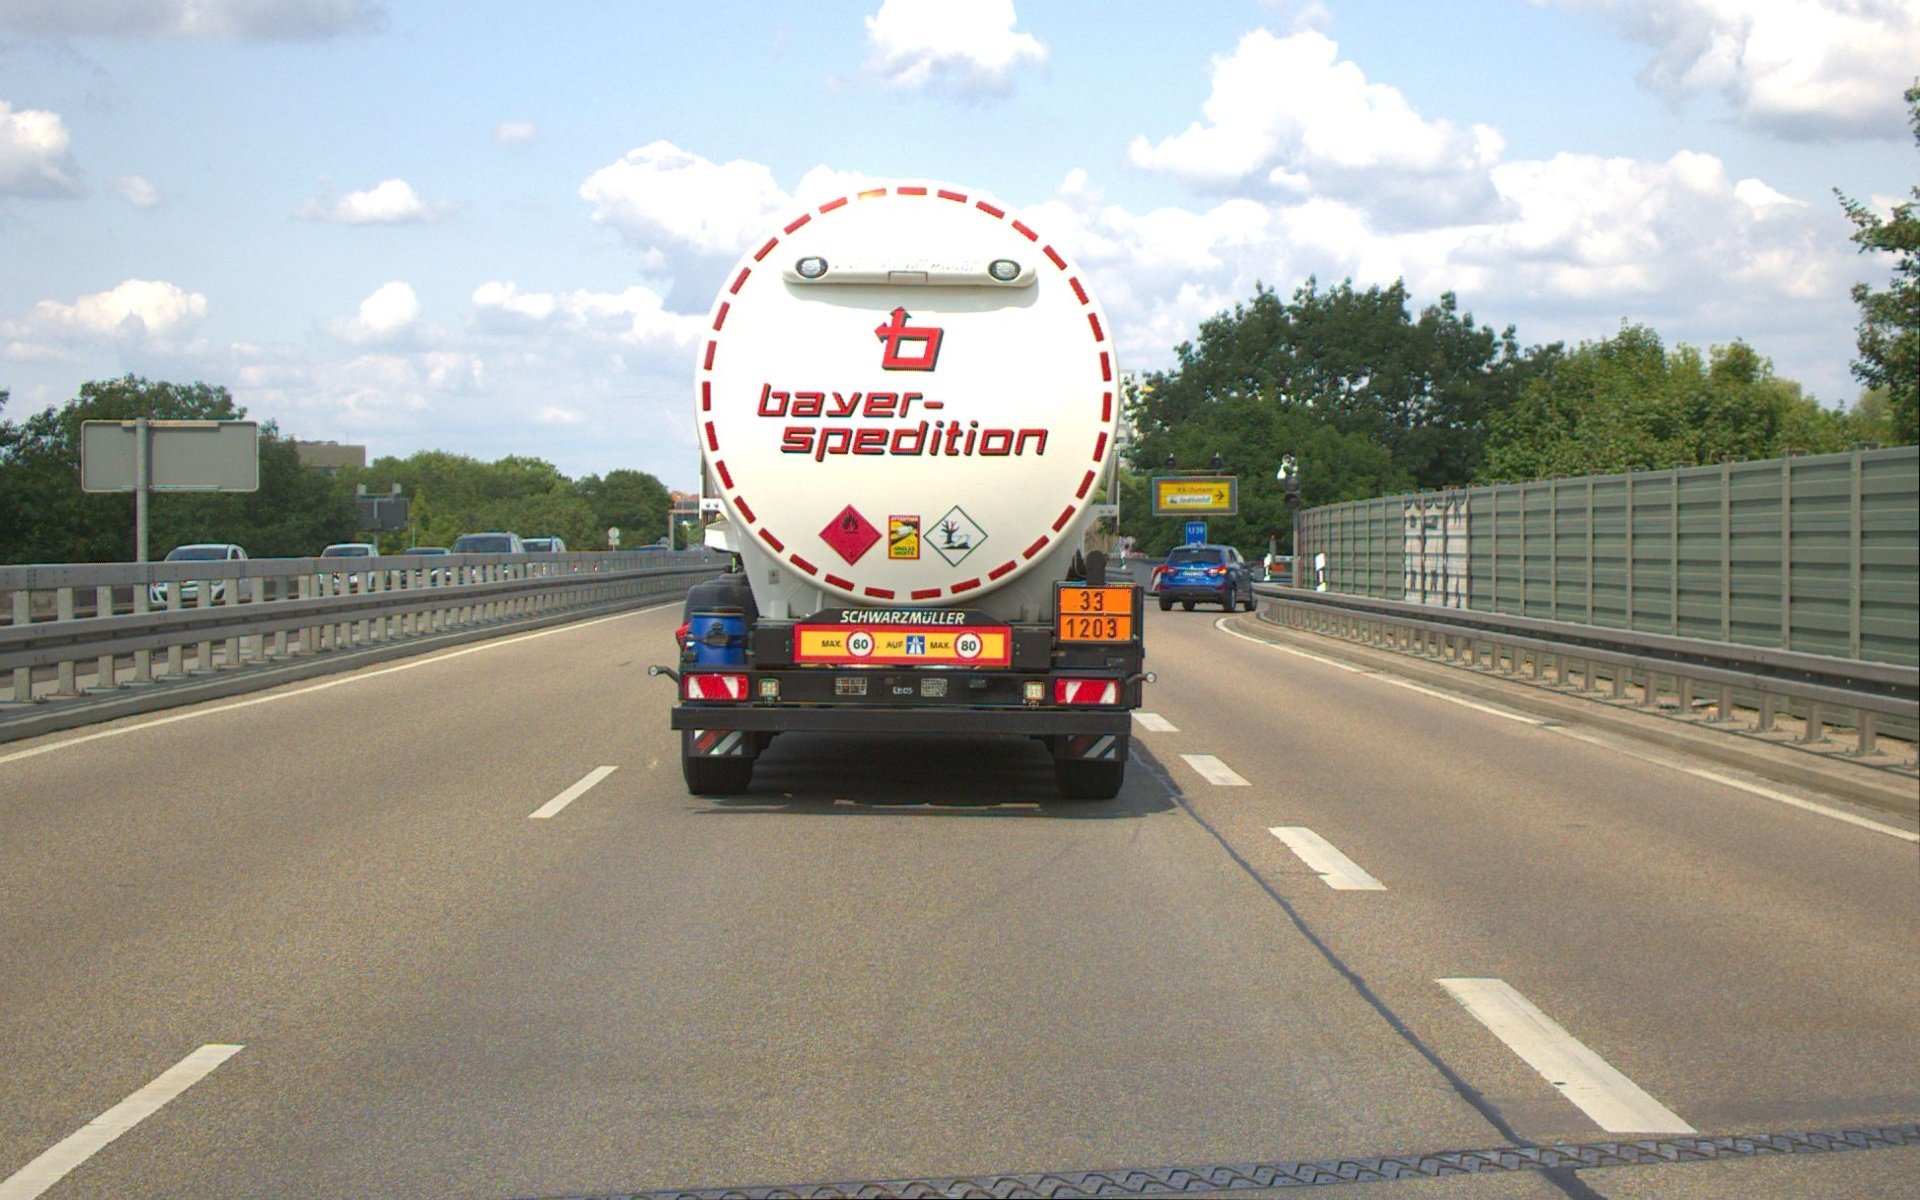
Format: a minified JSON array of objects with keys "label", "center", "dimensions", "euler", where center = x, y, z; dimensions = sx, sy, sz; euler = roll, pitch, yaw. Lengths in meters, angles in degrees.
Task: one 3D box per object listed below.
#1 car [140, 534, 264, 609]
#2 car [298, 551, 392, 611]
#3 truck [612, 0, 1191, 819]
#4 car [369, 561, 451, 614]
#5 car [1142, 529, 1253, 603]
[{"label":"car","center":[-16.153,-0.610,73.418],"dimensions":[1.782,1.503,3.960],"euler":[2,1,-1]},{"label":"car","center":[-16.802,-0.531,94.104],"dimensions":[1.923,1.568,3.887],"euler":[2,1,-1]},{"label":"truck","center":[-0.364,-1.117,21.983],"dimensions":[2.895,4.354,8.030],"euler":[2,1,-1]},{"label":"car","center":[-16.729,-0.386,104.742],"dimensions":[1.923,1.568,4.245],"euler":[0,1,-1]},{"label":"car","center":[5.758,-0.807,82.861],"dimensions":[1.995,1.700,3.997],"euler":[2,1,13]}]
